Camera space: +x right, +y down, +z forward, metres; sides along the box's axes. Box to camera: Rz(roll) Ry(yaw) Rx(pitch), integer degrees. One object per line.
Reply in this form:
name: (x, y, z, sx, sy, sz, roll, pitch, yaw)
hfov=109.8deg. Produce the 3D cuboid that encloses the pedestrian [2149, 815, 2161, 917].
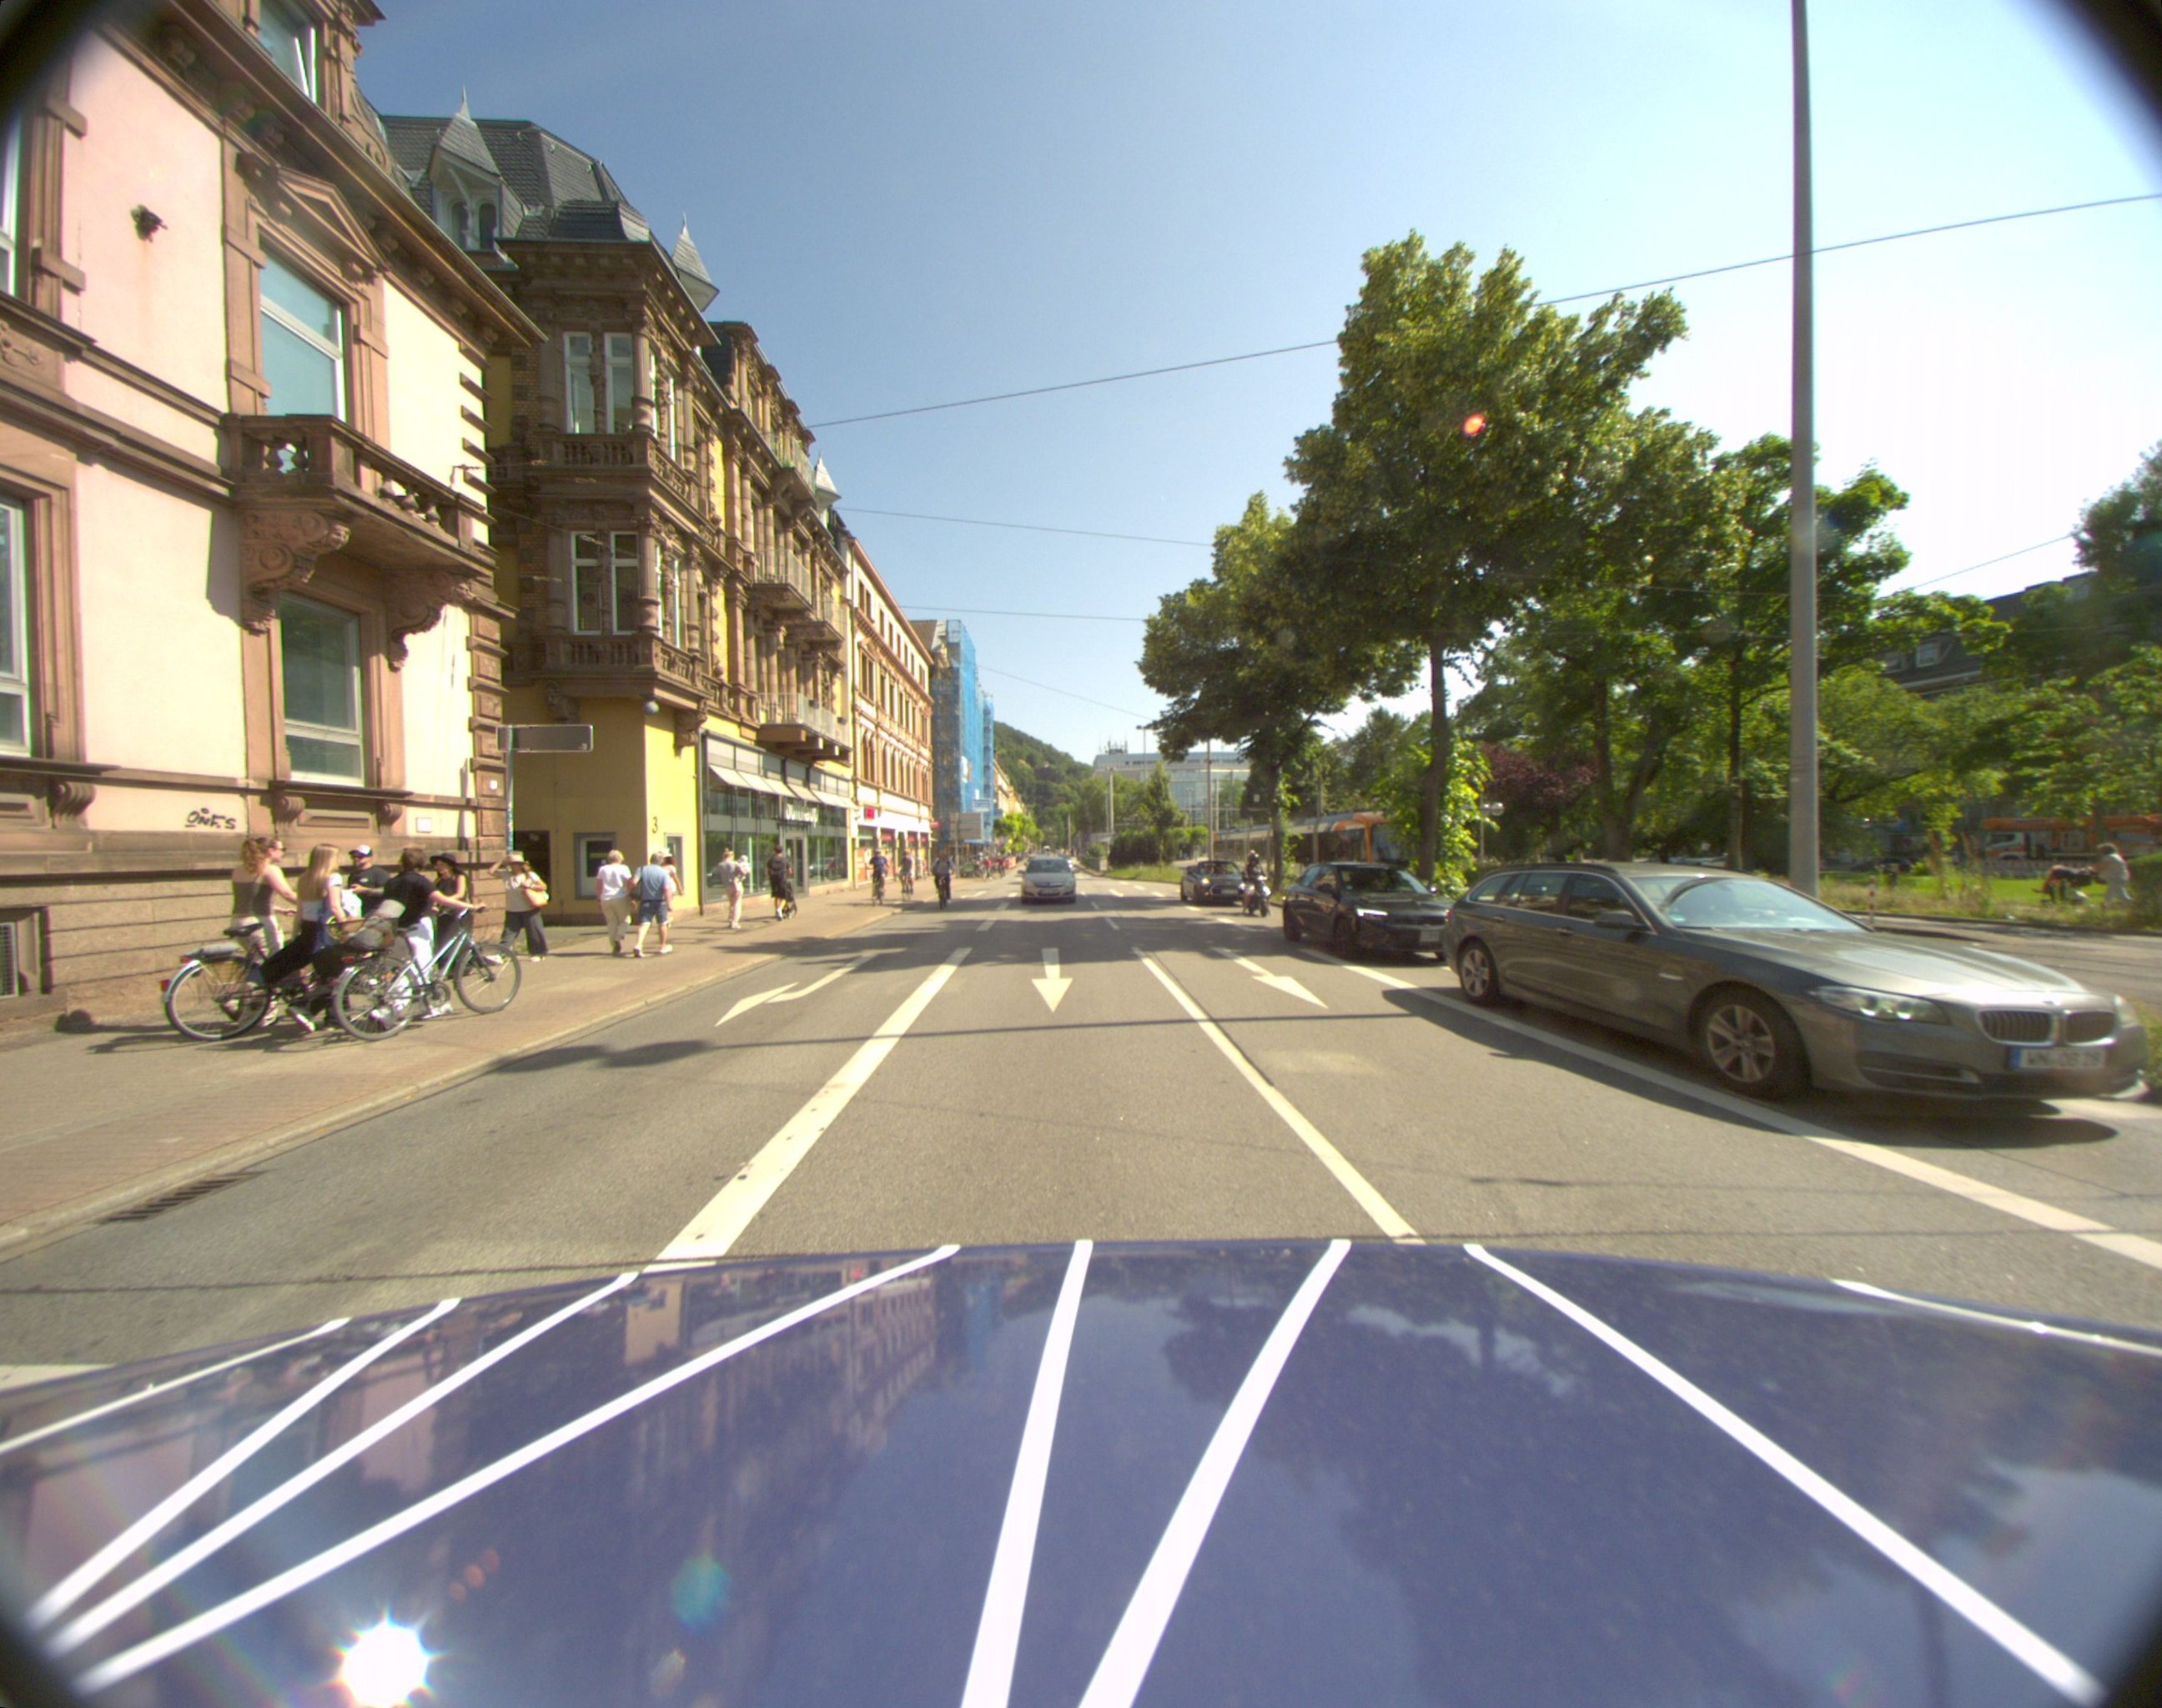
pedestrian: (23.034, 0.247, 15.555, 1.126, 2.138, 0.802, 0, 1, 4)

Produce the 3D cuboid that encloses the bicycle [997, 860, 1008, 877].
bicycle: (-5.425, 0.994, 52.481, 0.643, 1.077, 2.495, 0, 1, -3)

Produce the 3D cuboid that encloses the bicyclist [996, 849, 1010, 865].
bicyclist: (-5.402, 0.223, 52.538, 0.913, 1.077, 1.232, 0, 1, -3)

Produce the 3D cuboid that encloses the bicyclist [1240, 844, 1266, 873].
bicyclist: (8.274, 0.197, 36.560, 0.913, 1.385, 1.232, 0, 1, -3)

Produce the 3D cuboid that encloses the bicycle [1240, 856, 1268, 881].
bicycle: (8.285, 0.691, 36.520, 0.643, 1.077, 2.495, -1, 1, -3)

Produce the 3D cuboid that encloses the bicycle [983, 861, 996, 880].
bicycle: (-5.684, 1.014, 47.390, 0.643, 1.077, 2.495, 0, 1, -3)

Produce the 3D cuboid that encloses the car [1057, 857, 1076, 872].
car: (-1.685, 1.189, 85.522, 1.999, 1.547, 4.495, 0, 0, -3)

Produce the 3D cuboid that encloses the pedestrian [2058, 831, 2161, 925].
pedestrian: (22.562, 0.513, 16.639, 1.224, 2.002, 0.802, 0, 1, 4)

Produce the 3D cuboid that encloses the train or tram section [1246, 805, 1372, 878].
train or tram section: (11.978, -0.628, 41.582, 2.767, 3.384, 12.408, 0, 0, -2)

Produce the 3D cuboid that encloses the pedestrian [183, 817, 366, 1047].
pedestrian: (-7.475, 0.690, 7.092, 0.814, 2.002, 0.815, 2, 1, -3)

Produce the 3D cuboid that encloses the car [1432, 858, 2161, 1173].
car: (4.874, 0.807, 6.105, 1.753, 1.477, 4.746, 0, 0, -2)

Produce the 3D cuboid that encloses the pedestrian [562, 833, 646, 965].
pedestrian: (-7.462, 0.680, 11.930, 0.814, 2.002, 0.815, 0, 1, -3)

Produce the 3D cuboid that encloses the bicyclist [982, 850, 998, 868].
bicyclist: (-5.699, 0.316, 47.414, 0.913, 1.062, 1.232, 0, 1, -3)

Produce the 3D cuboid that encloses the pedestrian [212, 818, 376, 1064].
pedestrian: (-6.763, 0.716, 6.566, 0.662, 2.002, 0.699, 2, 1, -3)

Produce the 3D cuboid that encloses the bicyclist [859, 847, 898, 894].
bicyclist: (-6.281, 0.494, 23.623, 0.913, 1.428, 1.232, 0, 1, -3)

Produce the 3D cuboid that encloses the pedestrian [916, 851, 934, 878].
pedestrian: (-9.439, 0.608, 45.975, 0.913, 1.591, 1.232, 0, 1, -5)

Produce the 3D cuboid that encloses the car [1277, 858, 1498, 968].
car: (4.597, 0.796, 12.105, 1.797, 1.403, 3.999, 0, 1, -2)

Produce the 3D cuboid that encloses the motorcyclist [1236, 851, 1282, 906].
motorcyclist: (4.535, 0.611, 19.386, 0.903, 1.351, 0.992, 0, 1, -3)

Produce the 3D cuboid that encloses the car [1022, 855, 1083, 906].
car: (-1.020, 0.794, 25.131, 1.803, 1.492, 4.495, 0, 0, -4)

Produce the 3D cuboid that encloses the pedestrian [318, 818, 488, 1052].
pedestrian: (-6.159, 0.699, 6.950, 0.814, 2.002, 0.815, 1, 1, -3)

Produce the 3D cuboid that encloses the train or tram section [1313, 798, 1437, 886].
train or tram section: (12.328, -0.490, 32.451, 2.767, 3.384, 5.884, 0, 1, -3)

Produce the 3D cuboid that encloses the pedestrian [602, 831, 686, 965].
pedestrian: (-6.812, 0.669, 11.876, 0.814, 2.002, 0.815, 2, 1, -3)

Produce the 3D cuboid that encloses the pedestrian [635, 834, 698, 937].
pedestrian: (-8.363, 0.616, 15.368, 0.814, 2.002, 0.815, 2, 1, -3)

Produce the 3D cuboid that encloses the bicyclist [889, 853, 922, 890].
bicyclist: (-6.021, 0.591, 26.171, 0.913, 1.227, 1.232, 0, 1, -3)

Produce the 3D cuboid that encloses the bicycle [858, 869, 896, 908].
bicycle: (-6.283, 1.038, 23.515, 0.643, 1.077, 2.495, 0, 1, -3)

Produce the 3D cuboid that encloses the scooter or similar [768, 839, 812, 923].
scooter or similar: (-7.192, 0.645, 18.804, 0.694, 2.002, 1.095, 0, 1, -3)

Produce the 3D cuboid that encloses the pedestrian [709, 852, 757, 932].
pedestrian: (-7.455, 0.799, 16.306, 0.707, 1.685, 0.628, 0, 2, 0)

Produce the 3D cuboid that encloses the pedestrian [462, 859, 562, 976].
pedestrian: (-8.185, 0.888, 10.962, 0.814, 1.593, 0.815, 2, 1, -3)

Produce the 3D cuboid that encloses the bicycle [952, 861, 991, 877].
bicycle: (-7.291, 0.998, 50.631, 2.494, 1.077, 0.644, 0, 1, 2)

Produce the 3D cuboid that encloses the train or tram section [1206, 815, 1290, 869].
train or tram section: (11.508, -0.778, 53.946, 2.767, 3.384, 12.407, 0, 0, -2)

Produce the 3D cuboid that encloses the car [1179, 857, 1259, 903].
car: (4.289, 0.773, 24.187, 1.637, 1.301, 3.913, 0, 0, -3)

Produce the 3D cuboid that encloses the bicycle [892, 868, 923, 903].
bicycle: (-5.990, 1.072, 26.371, 0.643, 1.077, 2.495, 0, 1, -3)

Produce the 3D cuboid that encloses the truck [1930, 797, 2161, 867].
truck: (66.680, -1.357, 51.659, 3.632, 4.238, 11.801, 0, 0, -9)

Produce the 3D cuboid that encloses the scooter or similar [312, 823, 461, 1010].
scooter or similar: (-7.902, 0.670, 8.710, 0.694, 2.002, 1.095, 0, 1, -3)

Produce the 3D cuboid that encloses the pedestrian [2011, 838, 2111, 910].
pedestrian: (22.517, 0.455, 17.480, 1.038, 1.610, 0.934, 0, 1, 4)

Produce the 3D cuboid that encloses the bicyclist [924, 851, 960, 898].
bicyclist: (-4.209, 0.613, 23.132, 0.913, 1.385, 1.232, 0, 1, -3)

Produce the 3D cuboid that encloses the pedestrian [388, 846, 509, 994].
pedestrian: (-7.986, 0.801, 9.636, 0.814, 1.783, 0.815, -1, 1, -3)

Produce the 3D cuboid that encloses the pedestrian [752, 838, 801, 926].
pedestrian: (-7.145, 0.642, 17.848, 0.814, 2.002, 0.815, 2, 1, -3)

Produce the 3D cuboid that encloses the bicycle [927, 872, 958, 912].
bicycle: (-4.199, 1.129, 23.166, 0.643, 1.077, 2.495, 0, 1, -4)

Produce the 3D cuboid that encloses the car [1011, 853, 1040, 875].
car: (-4.278, 0.765, 59.424, 1.999, 1.565, 3.999, -2, 0, -1)

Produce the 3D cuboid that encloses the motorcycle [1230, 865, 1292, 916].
motorcycle: (4.564, 0.898, 19.425, 0.903, 1.156, 2.352, 0, 1, -3)
